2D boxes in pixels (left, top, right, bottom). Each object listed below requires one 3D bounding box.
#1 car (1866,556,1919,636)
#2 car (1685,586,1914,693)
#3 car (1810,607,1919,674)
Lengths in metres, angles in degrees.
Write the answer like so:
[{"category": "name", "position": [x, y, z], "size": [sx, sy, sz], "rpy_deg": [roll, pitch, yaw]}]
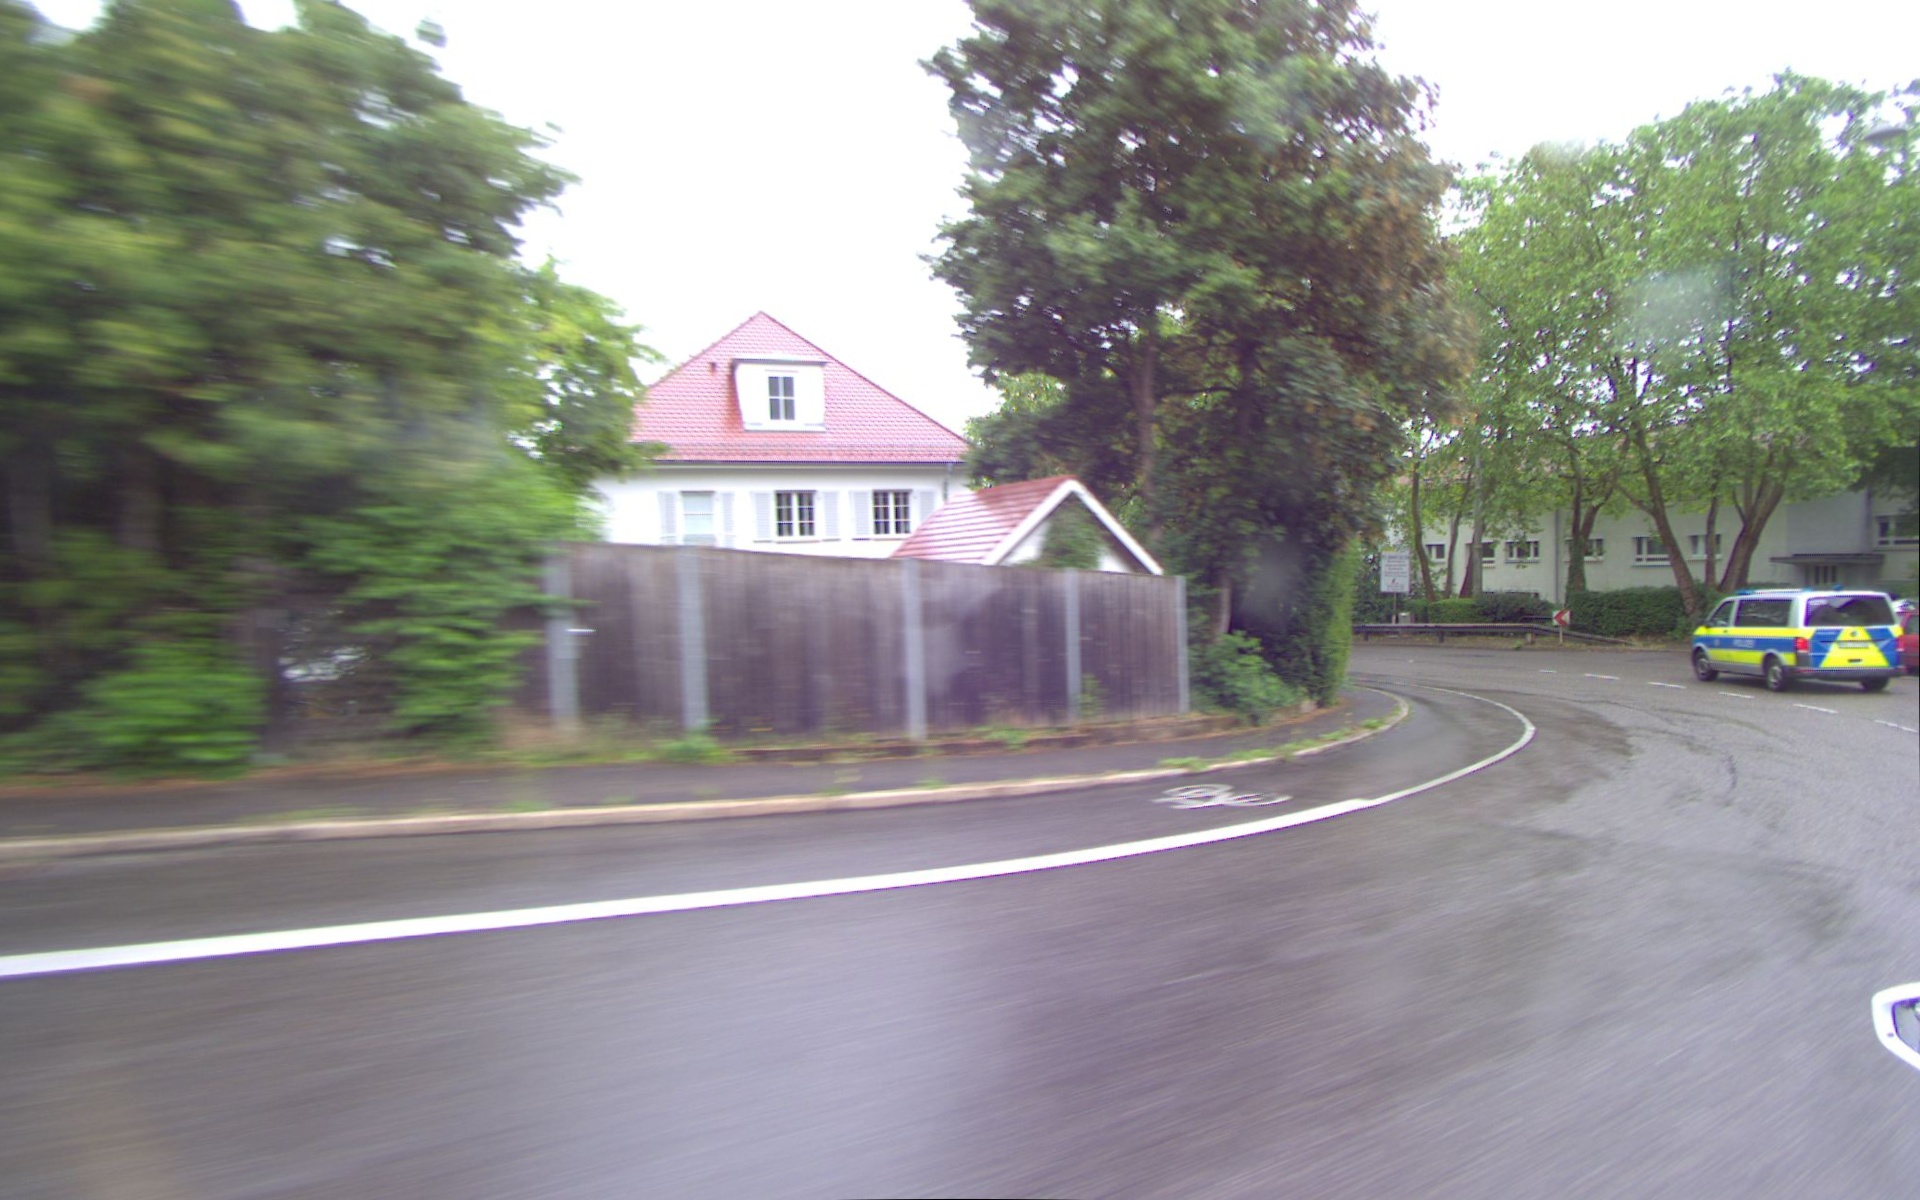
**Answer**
[{"category": "car", "position": [26.452, -0.469, 25.720], "size": [4.348, 1.864, 1.993], "rpy_deg": [-14, -6, 36]}, {"category": "car", "position": [17.376, 0.750, 21.126], "size": [1.960, 1.918, 4.571], "rpy_deg": [-3, -1, 17]}, {"category": "car", "position": [21.025, 0.847, 21.902], "size": [1.750, 1.385, 4.199], "rpy_deg": [-2, -2, 7]}]
